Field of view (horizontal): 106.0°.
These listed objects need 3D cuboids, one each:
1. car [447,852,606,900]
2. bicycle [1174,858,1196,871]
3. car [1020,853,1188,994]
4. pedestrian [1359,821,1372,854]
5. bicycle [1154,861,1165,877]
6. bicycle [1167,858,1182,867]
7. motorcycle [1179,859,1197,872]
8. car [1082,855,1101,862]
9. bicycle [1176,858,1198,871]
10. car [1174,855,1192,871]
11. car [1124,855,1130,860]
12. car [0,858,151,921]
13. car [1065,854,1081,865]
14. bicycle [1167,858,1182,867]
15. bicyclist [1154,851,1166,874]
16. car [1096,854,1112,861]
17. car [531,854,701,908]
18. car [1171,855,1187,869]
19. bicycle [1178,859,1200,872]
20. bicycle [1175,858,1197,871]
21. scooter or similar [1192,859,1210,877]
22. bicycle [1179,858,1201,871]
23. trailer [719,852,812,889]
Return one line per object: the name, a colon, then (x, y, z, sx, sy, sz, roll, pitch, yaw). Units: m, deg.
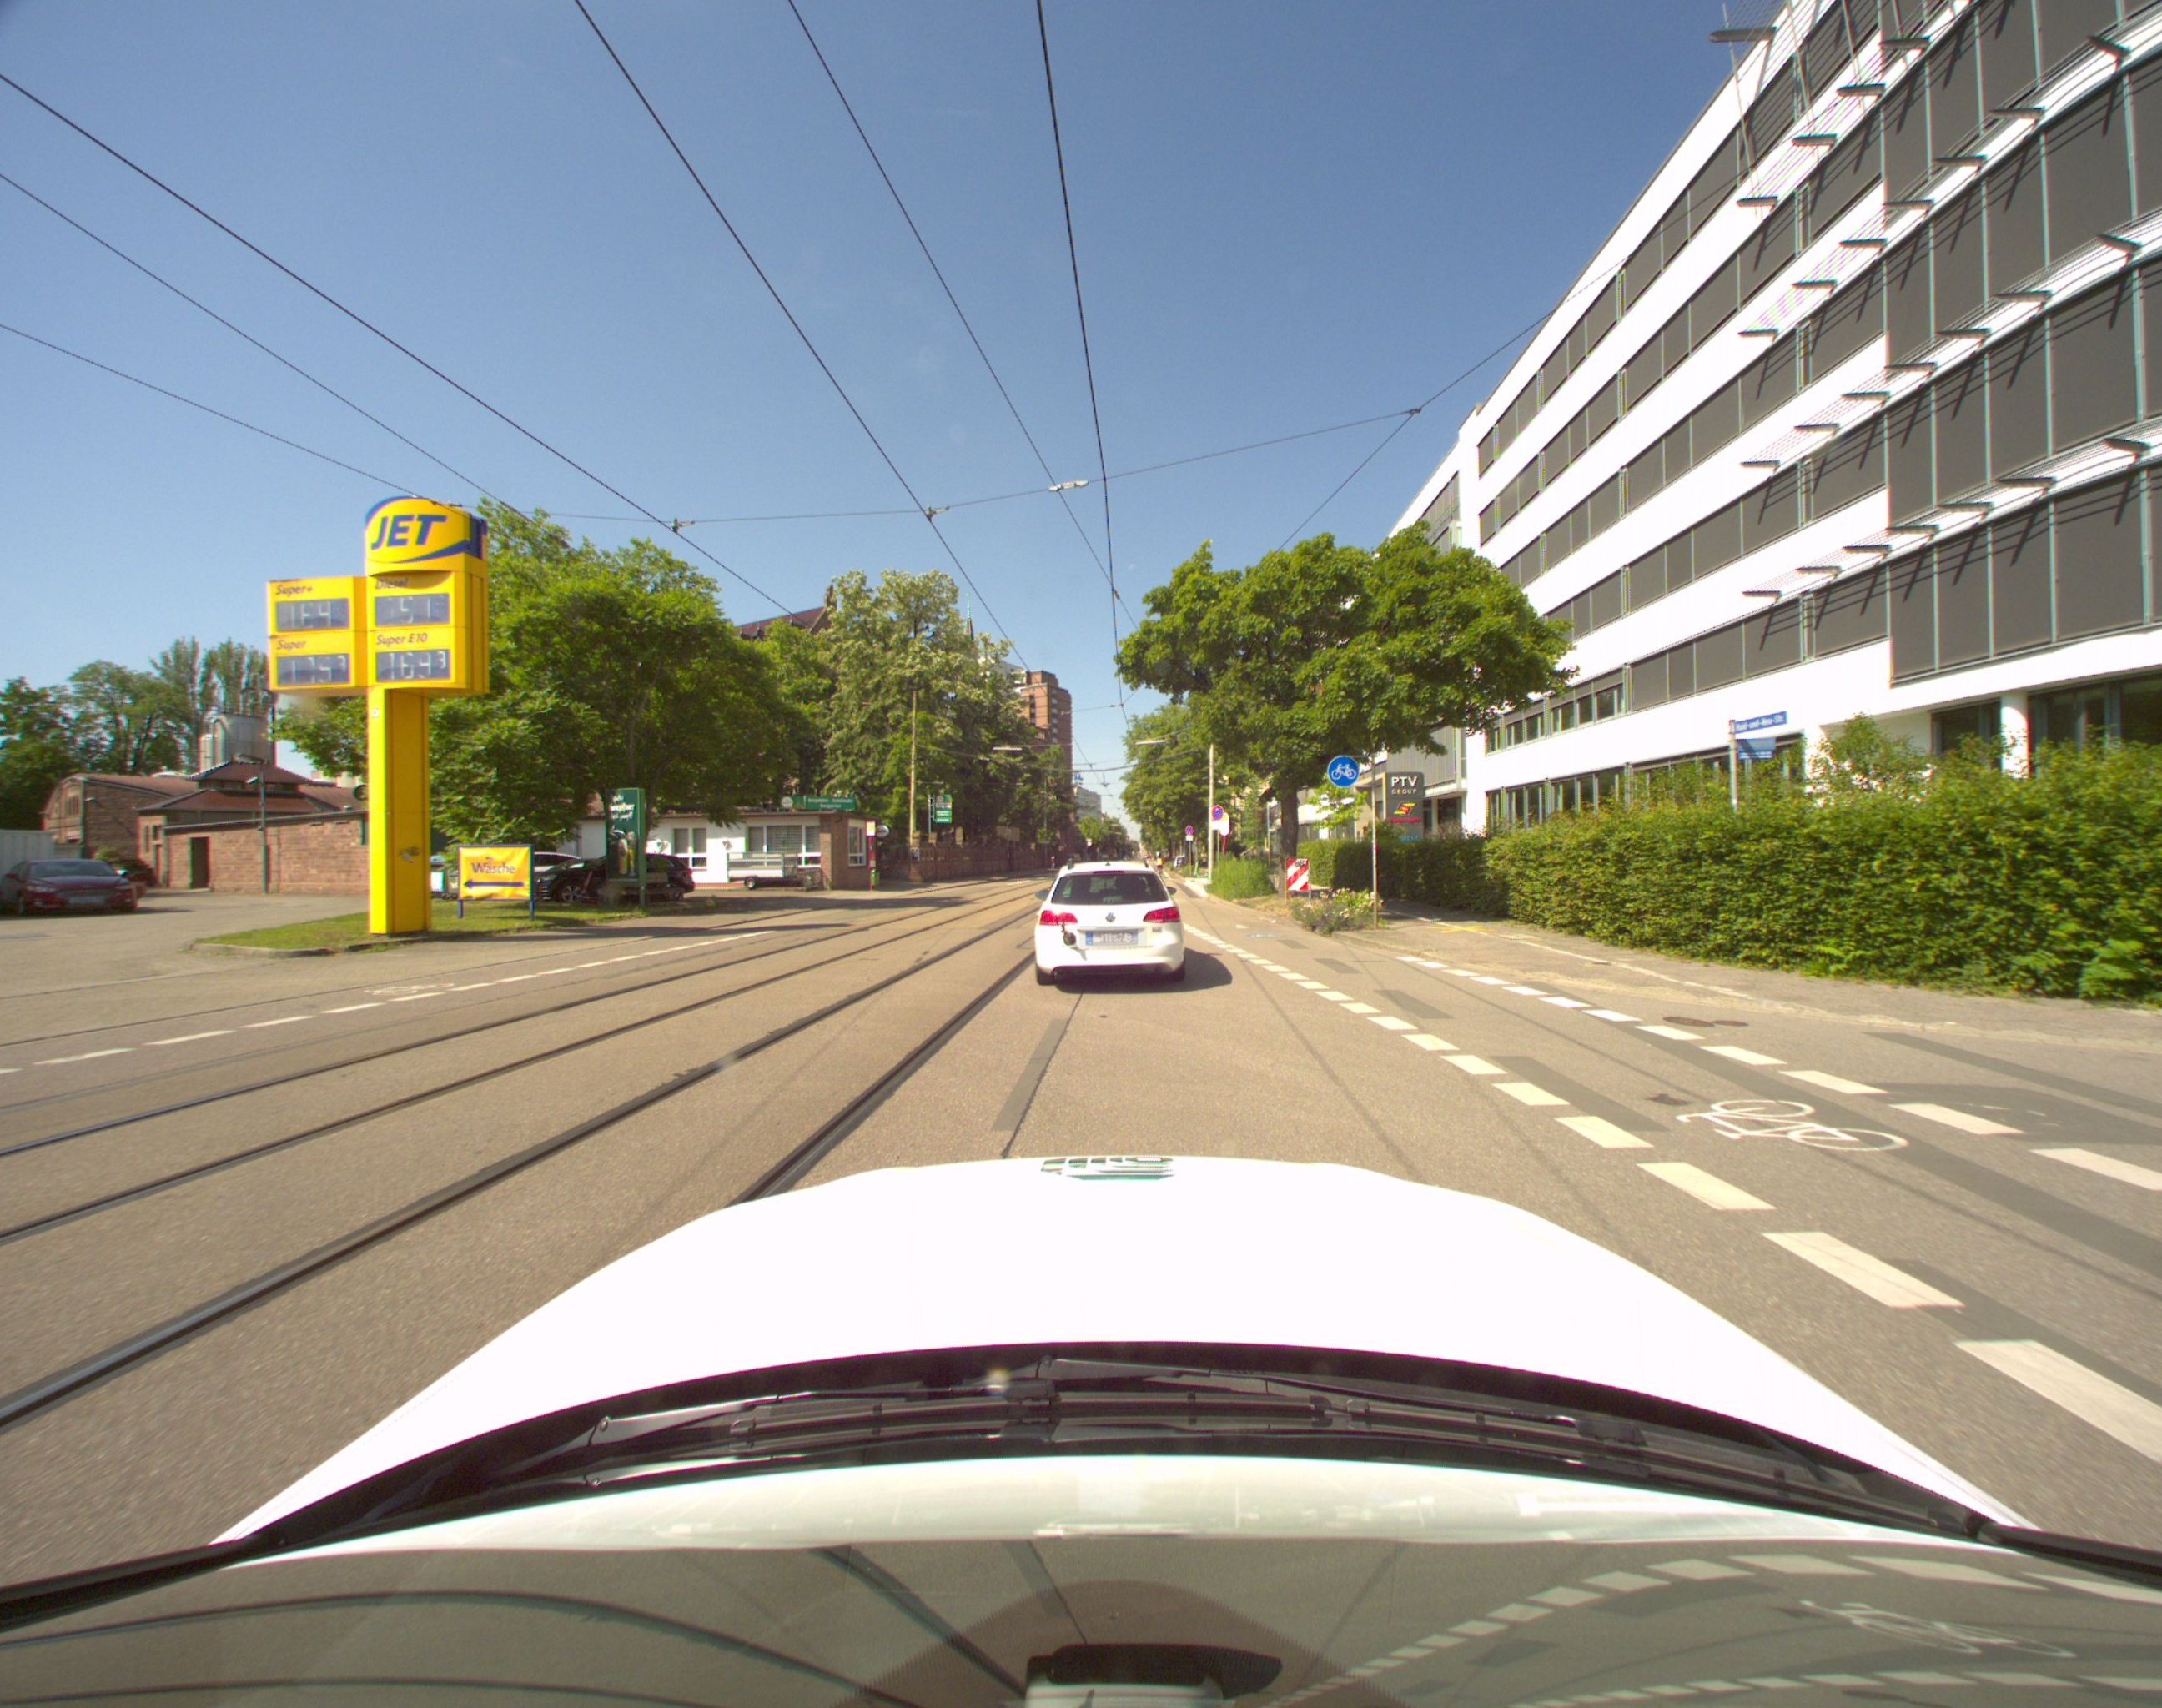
car: (-20.119, 0.738, 29.651, 4.602, 1.583, 1.926, 0, 0, -41)
bicycle: (9.357, 0.963, 73.057, 1.878, 1.083, 0.551, 1, 0, 2)
car: (0.363, 0.740, 10.885, 1.746, 1.442, 4.416, -2, 0, 3)
pedestrian: (15.189, -0.869, 43.520, 0.496, 1.728, 0.547, 0, -1, 4)
bicycle: (5.602, 1.077, 58.202, 0.807, 1.078, 2.015, 0, 0, 5)
bicycle: (11.241, 1.009, 98.217, 1.781, 1.010, 0.488, -1, -1, -1)
motorcycle: (8.986, 0.982, 68.368, 1.460, 1.046, 0.535, -1, 0, 2)
car: (2.597, 1.138, 196.663, 4.127, 1.530, 1.921, 1, 0, -17)
bicycle: (9.249, 0.943, 71.204, 1.904, 1.083, 0.551, 1, 0, 2)
car: (9.632, 0.859, 77.003, 1.583, 1.451, 3.952, -1, 0, 5)
car: (12.593, 1.047, 224.808, 1.486, 1.384, 3.648, -1, 0, 6)
car: (-26.807, 0.879, 21.667, 4.118, 1.527, 1.949, 0, -1, 30)
car: (-1.350, 0.843, 135.577, 1.983, 1.757, 4.721, -1, 0, 7)
bicycle: (11.235, 1.012, 97.696, 1.781, 1.010, 0.488, -1, -1, -1)
bicyclist: (5.650, 0.608, 58.310, 0.782, 1.629, 0.739, -1, -1, 5)
car: (6.539, 1.066, 230.003, 4.013, 1.816, 1.980, -1, 0, -31)
car: (-15.258, 0.819, 26.861, 4.603, 1.625, 1.926, 0, 0, -41)
car: (10.695, 0.903, 88.955, 1.656, 1.444, 4.640, -1, 0, 5)
bicycle: (8.775, 0.933, 66.223, 1.767, 1.083, 0.597, -1, 0, 2)
bicycle: (9.258, 0.939, 71.805, 1.904, 1.083, 0.551, 2, 0, 2)
scooter or similar: (7.882, 0.905, 53.293, 1.135, 1.154, 0.494, 0, 0, 10)
bicycle: (9.371, 0.916, 69.942, 1.767, 1.120, 0.597, -1, 0, 2)
trailer: (-13.487, 0.705, 34.907, 3.199, 1.525, 1.780, 0, 0, 5)
